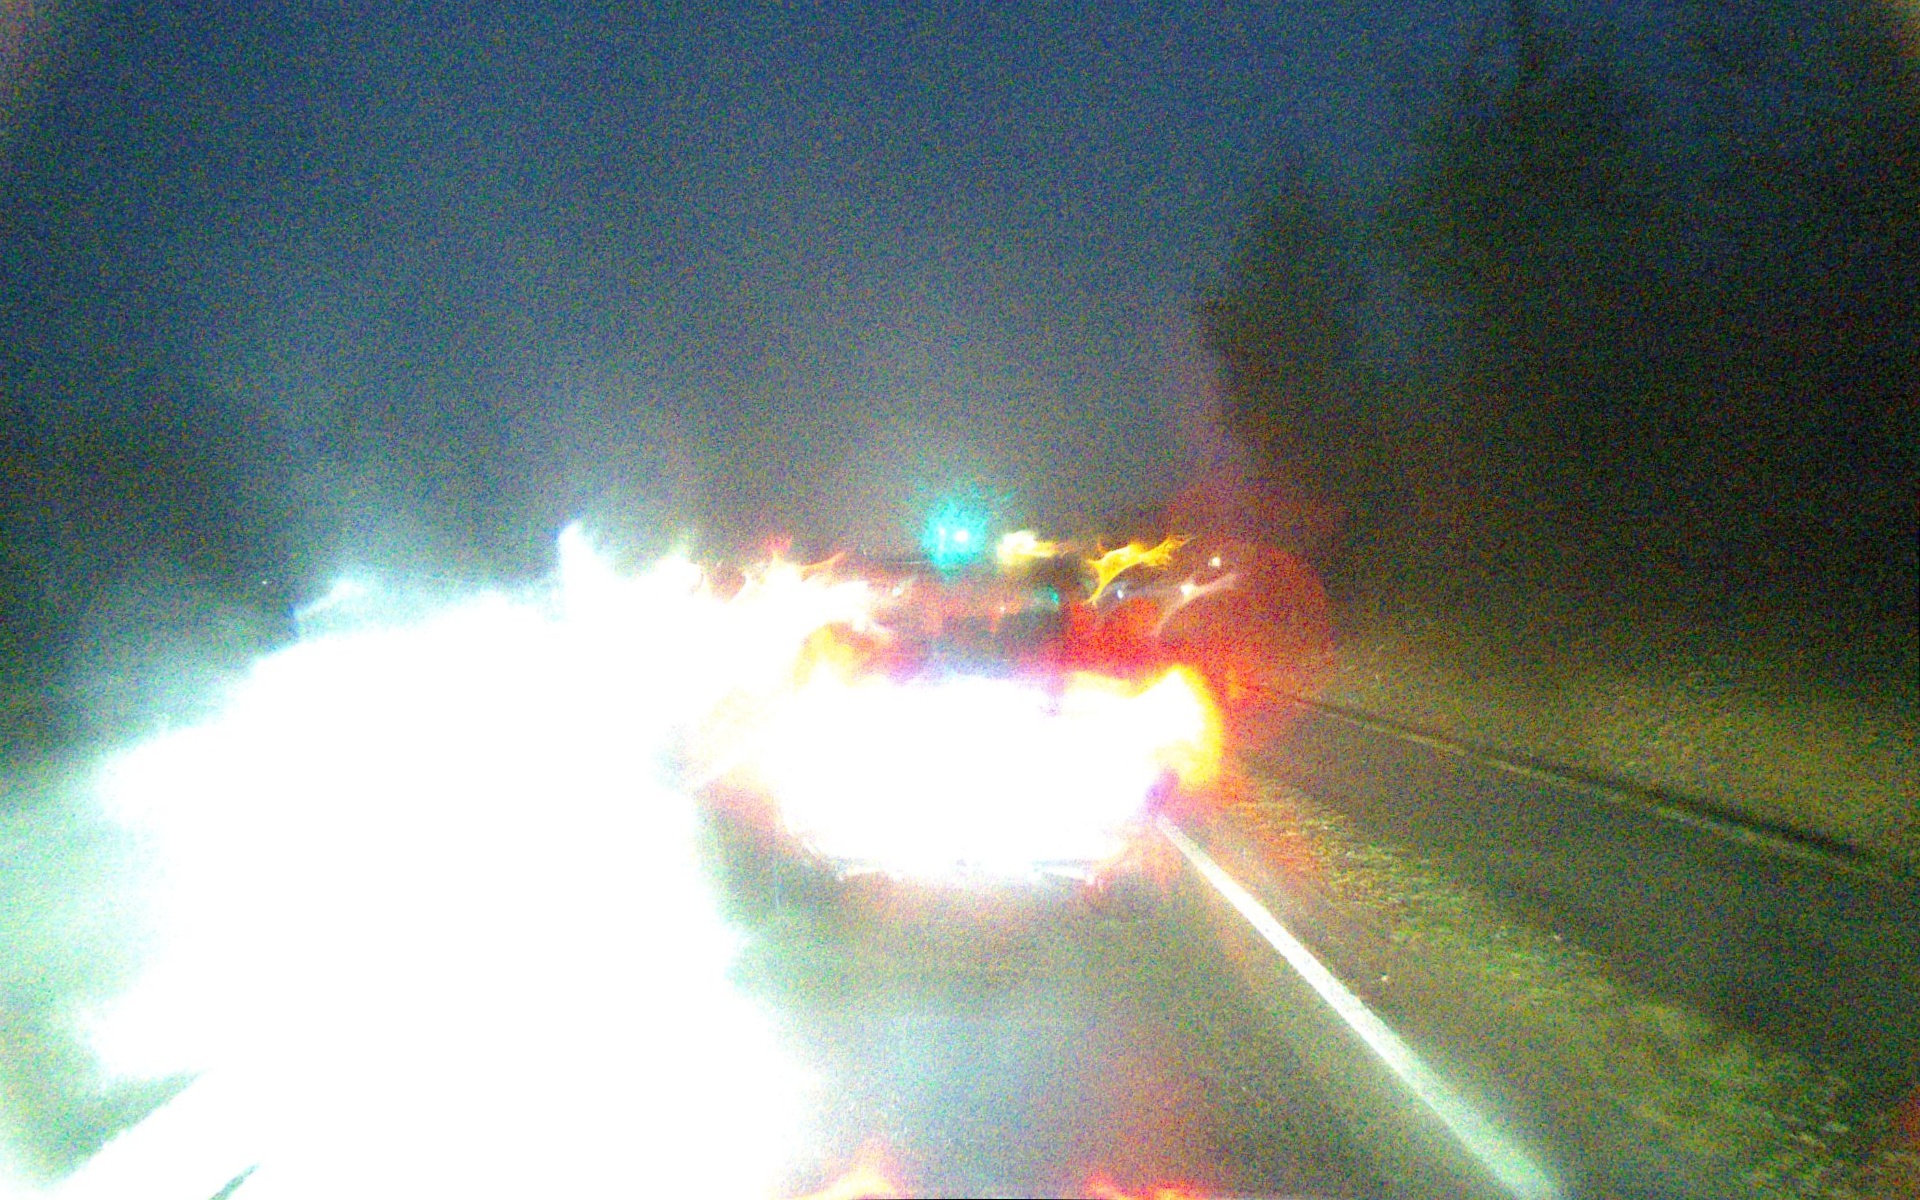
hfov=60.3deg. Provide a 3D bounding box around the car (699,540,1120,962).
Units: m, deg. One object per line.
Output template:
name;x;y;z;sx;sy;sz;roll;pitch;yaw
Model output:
car;-0.220;0.649;8.922;1.739;1.742;3.999;1;-1;0

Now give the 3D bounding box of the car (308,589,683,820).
car;-3.496;0.709;13.332;1.865;1.495;4.273;2;0;-2
